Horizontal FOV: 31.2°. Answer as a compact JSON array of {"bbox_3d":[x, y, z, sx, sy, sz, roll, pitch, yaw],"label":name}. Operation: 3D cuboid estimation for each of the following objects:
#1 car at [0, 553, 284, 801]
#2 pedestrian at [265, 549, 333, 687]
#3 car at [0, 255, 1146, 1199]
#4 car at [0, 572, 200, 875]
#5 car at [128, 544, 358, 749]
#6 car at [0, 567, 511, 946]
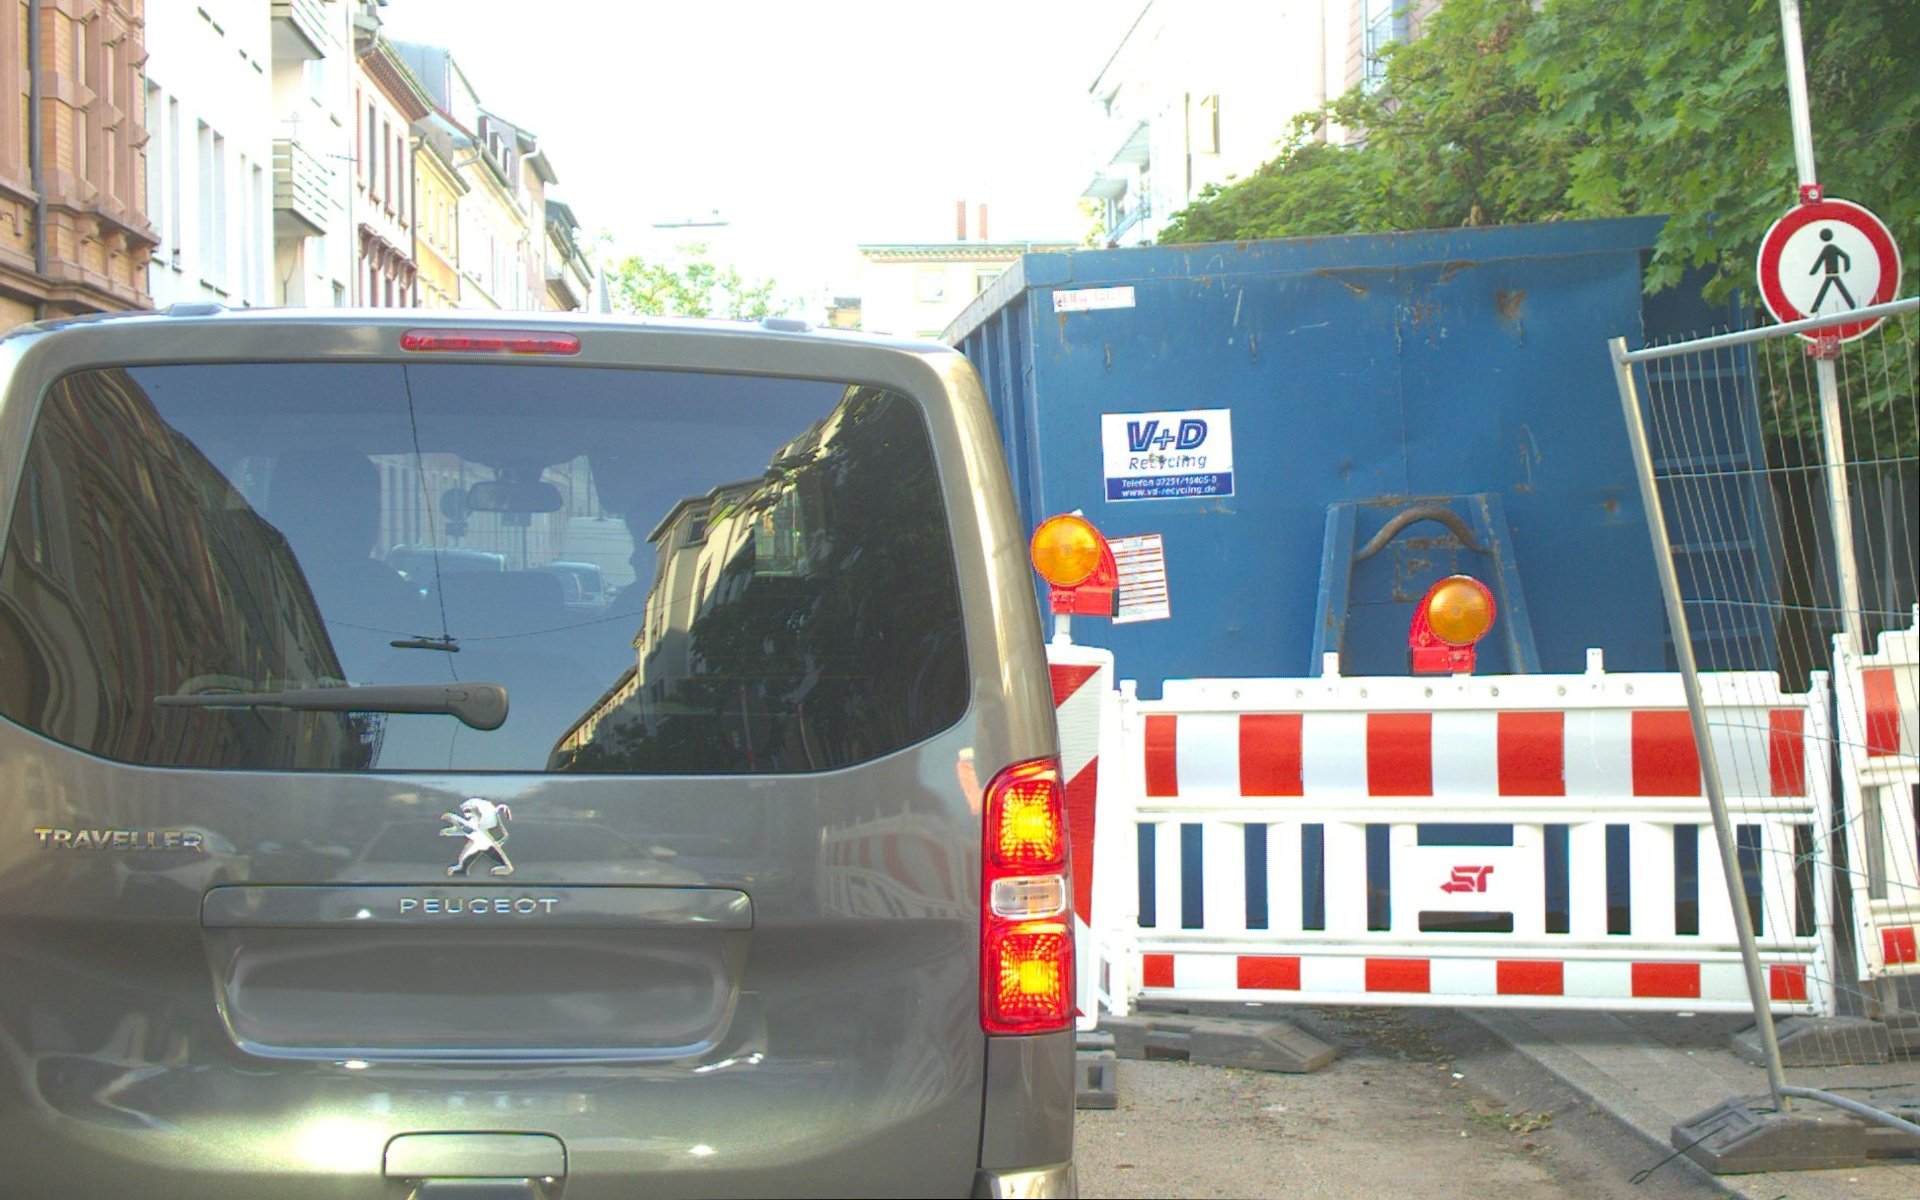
[{"bbox_3d":[-5.775,0.493,24.130,1.655,1.520,3.418,4,0,-7],"label":"car"},{"bbox_3d":[-8.036,0.213,41.798,0.739,1.659,0.704,-1,1,-7],"label":"pedestrian"},{"bbox_3d":[-0.918,0.476,6.724,1.865,1.880,4.236,0,0,-7],"label":"car"},{"bbox_3d":[-5.229,0.591,18.823,1.655,1.455,3.418,4,0,-7],"label":"car"},{"bbox_3d":[-6.455,0.401,31.210,1.666,1.660,3.092,4,0,-7],"label":"car"},{"bbox_3d":[-3.114,0.631,15.260,1.656,1.455,3.417,-2,0,2],"label":"car"}]
